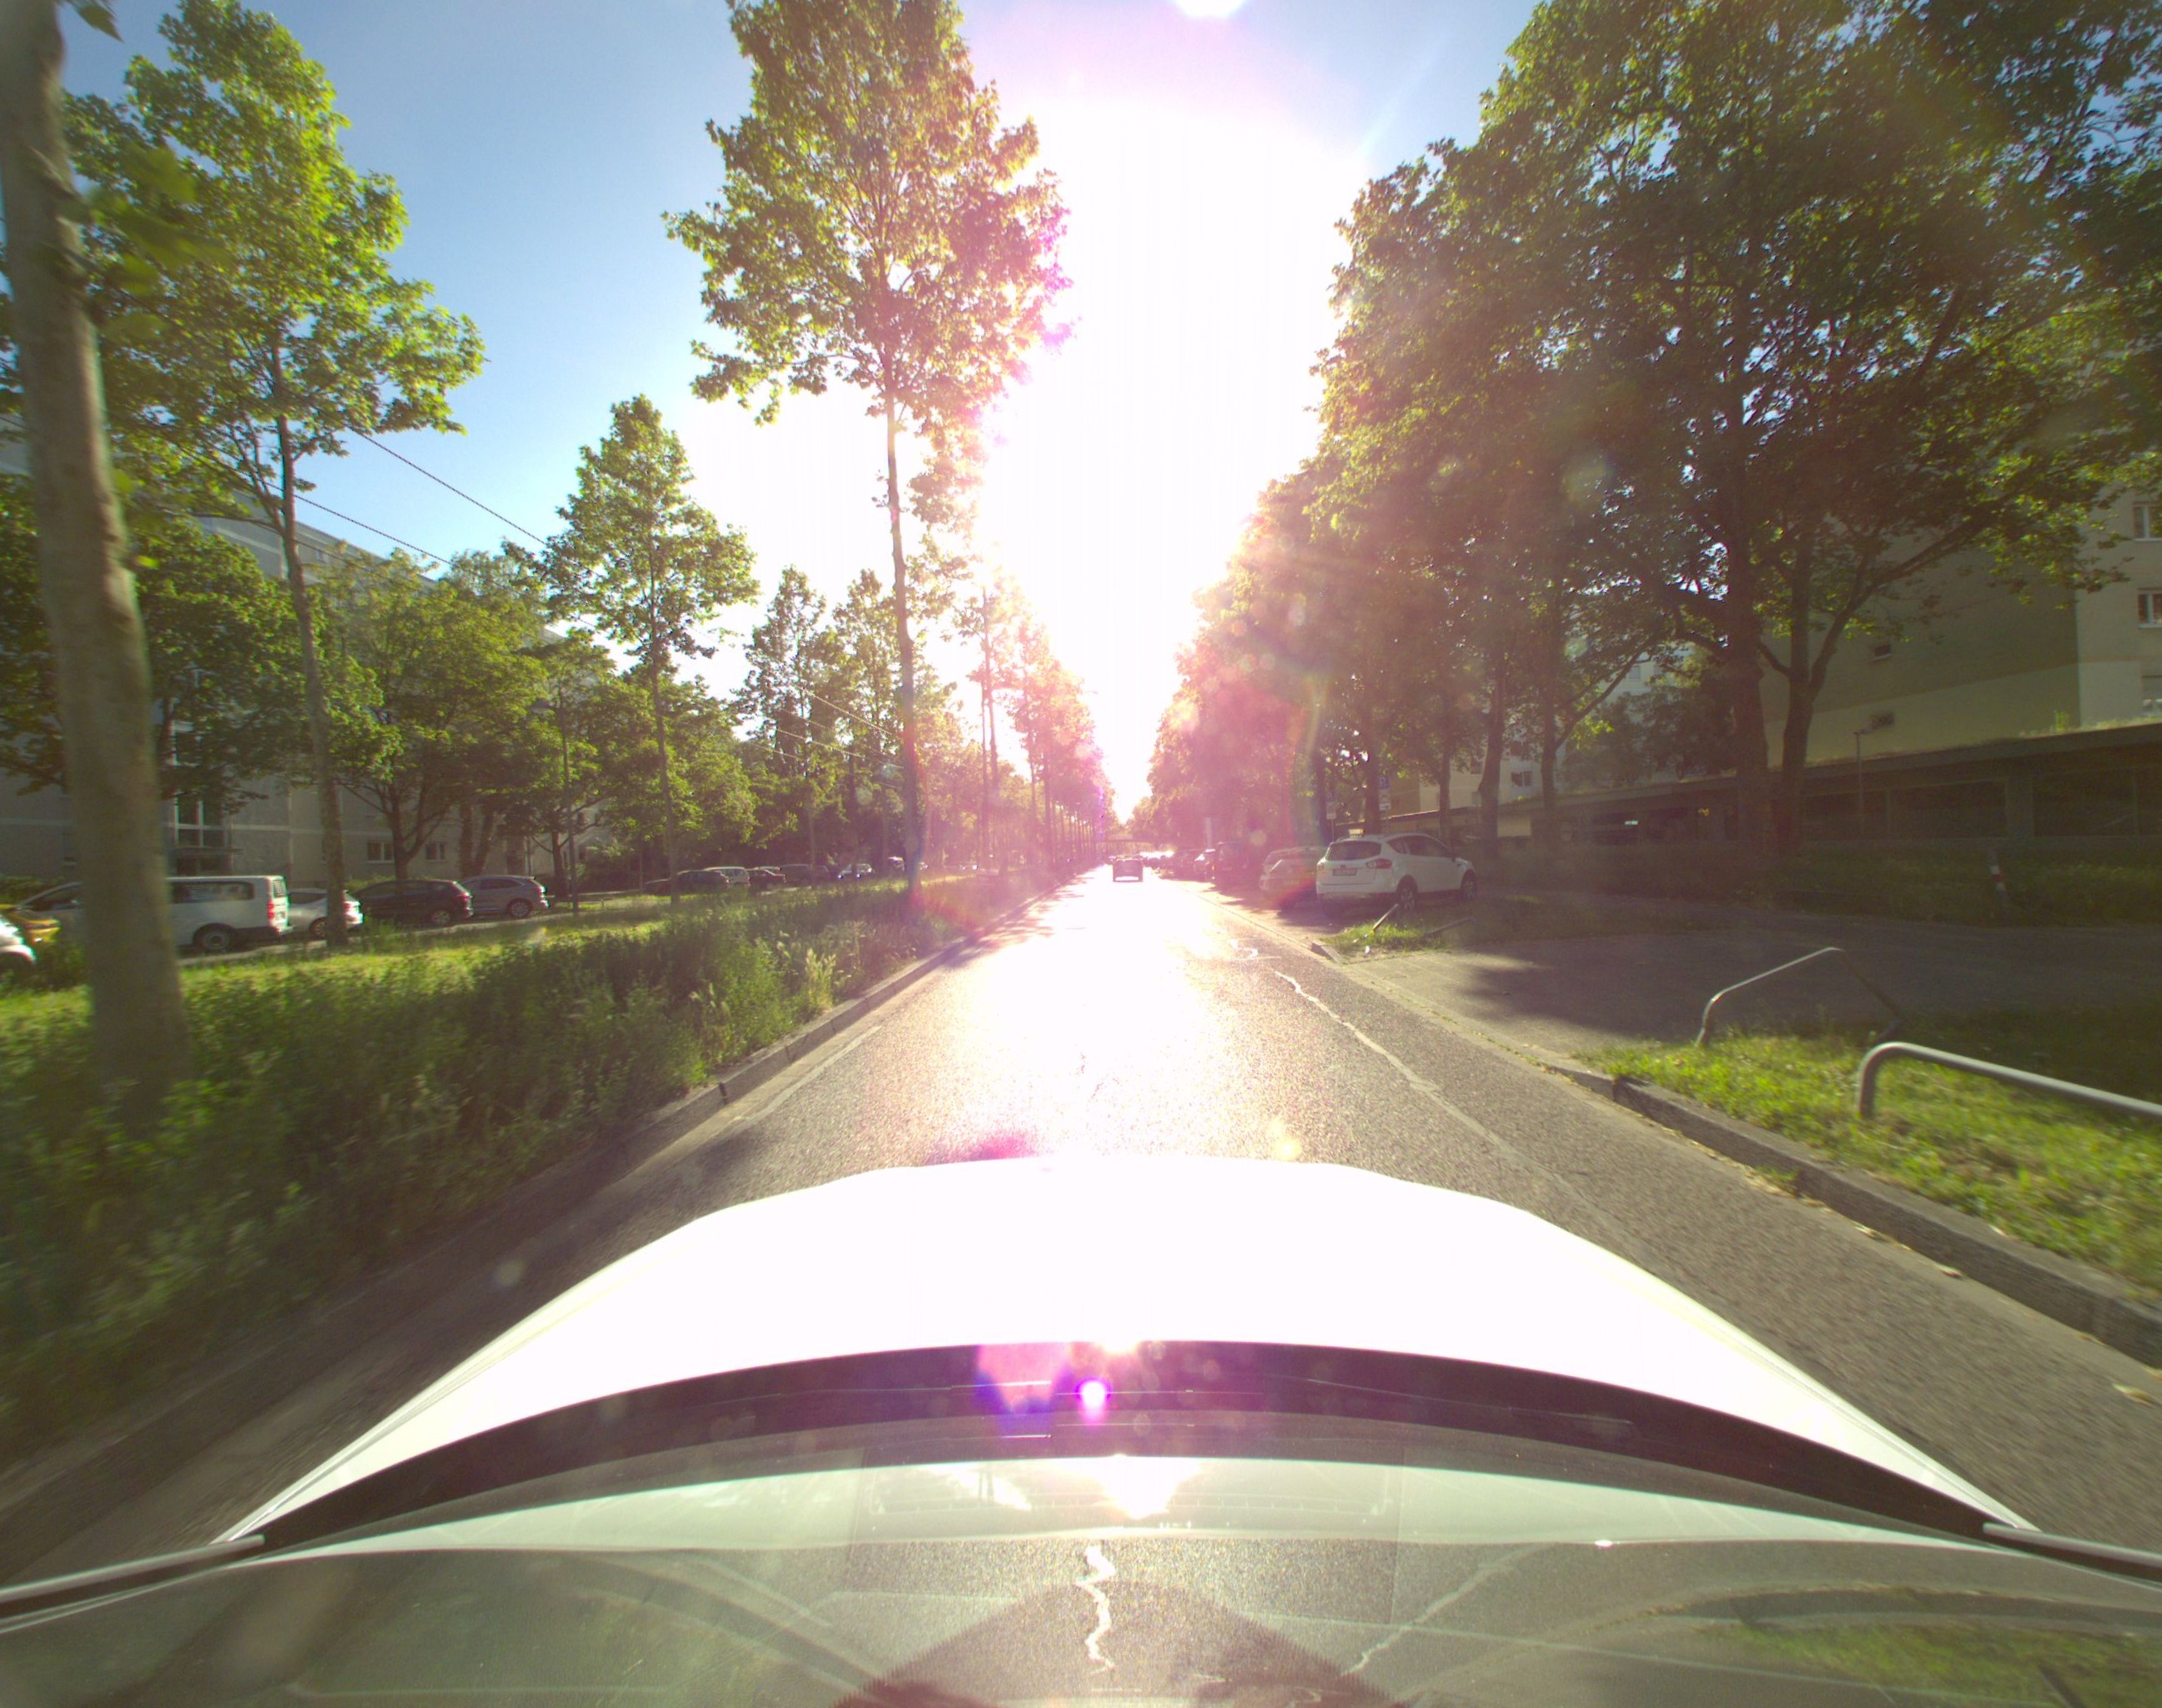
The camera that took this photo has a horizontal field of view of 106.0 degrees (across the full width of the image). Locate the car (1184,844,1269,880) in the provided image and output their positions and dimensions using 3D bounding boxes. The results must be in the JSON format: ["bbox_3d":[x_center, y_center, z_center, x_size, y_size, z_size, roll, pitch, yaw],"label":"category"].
[{"bbox_3d":[7.500,0.397,41.840,4.101,1.582,1.763,-3,0,-33],"label":"car"}]

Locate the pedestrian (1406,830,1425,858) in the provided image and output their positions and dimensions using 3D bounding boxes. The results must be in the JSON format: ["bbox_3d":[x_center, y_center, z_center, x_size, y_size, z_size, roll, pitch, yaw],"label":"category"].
[{"bbox_3d":[22.926,-0.687,55.840,0.871,1.914,0.869,-2,0,-7],"label":"pedestrian"}]

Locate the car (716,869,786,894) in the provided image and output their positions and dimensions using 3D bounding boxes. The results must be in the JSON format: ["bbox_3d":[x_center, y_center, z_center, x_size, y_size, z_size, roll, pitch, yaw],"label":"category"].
[{"bbox_3d":[-21.866,1.811,54.049,3.942,1.487,1.774,-2,0,-41],"label":"car"}]

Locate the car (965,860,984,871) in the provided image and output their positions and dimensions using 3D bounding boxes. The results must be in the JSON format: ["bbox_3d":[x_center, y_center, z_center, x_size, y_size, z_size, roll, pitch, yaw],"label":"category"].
[{"bbox_3d":[-16.119,1.750,123.486,1.985,1.590,4.172,0,0,4],"label":"car"}]

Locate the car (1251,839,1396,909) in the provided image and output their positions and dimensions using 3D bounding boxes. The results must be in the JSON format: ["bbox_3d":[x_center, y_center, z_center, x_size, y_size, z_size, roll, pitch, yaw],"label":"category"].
[{"bbox_3d":[6.111,0.463,20.299,3.808,1.470,1.631,-3,0,-42],"label":"car"}]

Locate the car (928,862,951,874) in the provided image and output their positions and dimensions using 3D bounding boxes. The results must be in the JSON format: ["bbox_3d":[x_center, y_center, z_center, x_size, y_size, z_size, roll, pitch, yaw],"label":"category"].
[{"bbox_3d":[-17.977,1.816,103.618,1.985,1.453,4.004,0,0,4],"label":"car"}]

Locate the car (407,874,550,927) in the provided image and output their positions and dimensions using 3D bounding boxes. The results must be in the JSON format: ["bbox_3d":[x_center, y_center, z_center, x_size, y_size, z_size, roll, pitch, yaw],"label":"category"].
[{"bbox_3d":[-22.685,1.699,30.724,4.108,1.607,1.971,-3,2,-43],"label":"car"}]

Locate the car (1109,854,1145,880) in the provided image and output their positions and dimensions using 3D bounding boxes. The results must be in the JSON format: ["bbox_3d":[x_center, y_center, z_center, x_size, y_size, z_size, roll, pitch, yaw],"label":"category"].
[{"bbox_3d":[2.648,0.719,47.182,1.914,1.411,4.003,-1,0,3],"label":"car"}]

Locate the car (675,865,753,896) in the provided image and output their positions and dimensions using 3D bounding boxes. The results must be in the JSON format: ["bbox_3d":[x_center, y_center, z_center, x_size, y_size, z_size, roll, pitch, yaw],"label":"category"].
[{"bbox_3d":[-22.394,1.595,49.781,4.000,1.675,1.766,-2,0,-41],"label":"car"}]

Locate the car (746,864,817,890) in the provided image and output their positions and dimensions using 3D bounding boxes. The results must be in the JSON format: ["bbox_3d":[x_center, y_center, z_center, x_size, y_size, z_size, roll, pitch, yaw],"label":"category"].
[{"bbox_3d":[-21.790,1.668,59.351,4.511,1.675,1.774,-2,0,-41],"label":"car"}]

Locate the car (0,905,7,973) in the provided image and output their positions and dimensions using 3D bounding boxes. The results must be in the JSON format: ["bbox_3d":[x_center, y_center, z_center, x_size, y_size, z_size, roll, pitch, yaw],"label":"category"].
[{"bbox_3d":[-24.441,1.748,15.774,4.107,1.433,1.560,1,-7,-42],"label":"car"}]

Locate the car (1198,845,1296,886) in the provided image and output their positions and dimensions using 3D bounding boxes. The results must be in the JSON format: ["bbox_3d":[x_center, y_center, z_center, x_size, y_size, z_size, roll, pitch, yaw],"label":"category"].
[{"bbox_3d":[7.063,0.484,34.508,4.102,1.481,1.633,-3,0,-34],"label":"car"}]

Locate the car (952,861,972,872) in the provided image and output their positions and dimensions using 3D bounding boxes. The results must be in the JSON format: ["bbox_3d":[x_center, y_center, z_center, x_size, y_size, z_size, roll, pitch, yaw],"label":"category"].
[{"bbox_3d":[-16.848,1.776,115.472,1.985,1.453,4.004,0,0,4],"label":"car"}]

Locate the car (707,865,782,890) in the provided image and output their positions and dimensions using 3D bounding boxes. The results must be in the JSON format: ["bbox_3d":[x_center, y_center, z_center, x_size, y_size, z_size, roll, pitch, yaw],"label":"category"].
[{"bbox_3d":[-23.097,1.611,55.966,4.505,1.481,1.600,-2,0,-35],"label":"car"}]

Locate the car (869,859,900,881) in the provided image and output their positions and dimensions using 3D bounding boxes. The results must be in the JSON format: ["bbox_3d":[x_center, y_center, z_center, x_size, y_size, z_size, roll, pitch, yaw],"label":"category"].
[{"bbox_3d":[-19.614,1.614,81.546,1.638,2.093,4.920,0,0,4],"label":"car"}]

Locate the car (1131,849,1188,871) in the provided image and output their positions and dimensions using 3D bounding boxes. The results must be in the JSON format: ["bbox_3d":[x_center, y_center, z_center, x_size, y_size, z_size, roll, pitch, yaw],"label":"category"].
[{"bbox_3d":[6.271,0.448,64.920,4.519,1.443,1.834,-3,0,-42],"label":"car"}]

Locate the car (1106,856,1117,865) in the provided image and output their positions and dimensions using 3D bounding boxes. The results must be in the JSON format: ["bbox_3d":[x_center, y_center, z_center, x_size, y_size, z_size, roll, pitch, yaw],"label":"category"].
[{"bbox_3d":[5.073,1.069,135.771,1.842,1.535,3.869,-2,0,2],"label":"car"}]

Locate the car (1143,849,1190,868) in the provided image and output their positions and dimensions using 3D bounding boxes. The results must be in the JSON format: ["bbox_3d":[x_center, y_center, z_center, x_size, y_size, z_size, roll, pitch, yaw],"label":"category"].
[{"bbox_3d":[8.011,0.395,75.801,4.353,1.424,1.834,-3,0,-42],"label":"car"}]

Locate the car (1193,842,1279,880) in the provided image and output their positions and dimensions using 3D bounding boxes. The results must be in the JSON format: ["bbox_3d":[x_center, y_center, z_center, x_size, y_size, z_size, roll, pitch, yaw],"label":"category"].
[{"bbox_3d":[7.445,0.316,38.901,4.107,1.582,1.760,-3,0,-41],"label":"car"}]

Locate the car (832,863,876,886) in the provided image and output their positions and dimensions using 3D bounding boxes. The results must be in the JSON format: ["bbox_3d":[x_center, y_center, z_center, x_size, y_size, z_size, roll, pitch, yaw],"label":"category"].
[{"bbox_3d":[-16.411,1.478,59.134,1.917,1.506,4.086,-2,0,1],"label":"car"}]

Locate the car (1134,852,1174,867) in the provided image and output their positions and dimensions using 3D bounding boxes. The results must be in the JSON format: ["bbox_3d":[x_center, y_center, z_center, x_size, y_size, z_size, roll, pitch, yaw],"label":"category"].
[{"bbox_3d":[8.508,0.627,94.454,4.651,1.459,1.955,-2,-1,-44],"label":"car"}]

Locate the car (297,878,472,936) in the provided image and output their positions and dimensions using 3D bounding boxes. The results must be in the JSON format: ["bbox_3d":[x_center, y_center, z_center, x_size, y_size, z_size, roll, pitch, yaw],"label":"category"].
[{"bbox_3d":[-22.691,1.676,26.774,4.100,1.530,1.800,-3,1,-32],"label":"car"}]

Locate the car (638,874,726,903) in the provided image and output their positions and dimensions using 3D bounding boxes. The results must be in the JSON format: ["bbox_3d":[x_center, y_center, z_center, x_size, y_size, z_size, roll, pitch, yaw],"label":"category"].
[{"bbox_3d":[-22.662,1.935,46.318,4.154,1.337,1.774,-2,1,-41],"label":"car"}]

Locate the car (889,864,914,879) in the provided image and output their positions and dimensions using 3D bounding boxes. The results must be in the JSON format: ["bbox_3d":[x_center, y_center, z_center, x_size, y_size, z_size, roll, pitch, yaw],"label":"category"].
[{"bbox_3d":[-19.331,1.865,87.706,1.638,1.453,3.667,0,0,4],"label":"car"}]

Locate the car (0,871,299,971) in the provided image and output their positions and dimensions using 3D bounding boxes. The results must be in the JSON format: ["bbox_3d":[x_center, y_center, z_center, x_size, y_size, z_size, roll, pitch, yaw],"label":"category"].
[{"bbox_3d":[-23.012,1.541,20.275,4.820,2.006,1.871,-2,1,-37],"label":"car"}]

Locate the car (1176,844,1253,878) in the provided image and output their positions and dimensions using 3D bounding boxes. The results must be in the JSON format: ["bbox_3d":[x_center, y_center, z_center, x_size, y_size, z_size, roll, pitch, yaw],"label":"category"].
[{"bbox_3d":[7.445,0.386,45.113,4.341,1.717,1.617,-2,0,-37],"label":"car"}]

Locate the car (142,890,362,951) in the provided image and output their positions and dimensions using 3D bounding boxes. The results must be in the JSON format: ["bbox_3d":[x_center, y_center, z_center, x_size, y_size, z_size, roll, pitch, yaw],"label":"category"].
[{"bbox_3d":[-23.254,1.819,23.076,4.099,1.432,1.563,0,0,-32],"label":"car"}]

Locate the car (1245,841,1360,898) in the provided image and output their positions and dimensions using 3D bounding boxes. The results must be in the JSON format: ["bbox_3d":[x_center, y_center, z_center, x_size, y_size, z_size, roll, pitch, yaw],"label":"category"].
[{"bbox_3d":[6.665,0.445,24.325,3.649,1.448,1.631,-3,0,-45],"label":"car"}]

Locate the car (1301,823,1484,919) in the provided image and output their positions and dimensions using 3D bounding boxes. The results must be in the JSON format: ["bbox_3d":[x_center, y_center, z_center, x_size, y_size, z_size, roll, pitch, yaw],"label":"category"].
[{"bbox_3d":[6.645,0.295,17.197,4.049,1.705,1.740,-3,0,-39],"label":"car"}]

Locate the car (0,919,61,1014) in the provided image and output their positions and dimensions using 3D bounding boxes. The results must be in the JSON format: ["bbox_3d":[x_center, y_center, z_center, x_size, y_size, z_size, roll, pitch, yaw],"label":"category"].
[{"bbox_3d":[-18.515,1.895,12.154,1.640,1.485,3.851,-3,-1,2],"label":"car"}]

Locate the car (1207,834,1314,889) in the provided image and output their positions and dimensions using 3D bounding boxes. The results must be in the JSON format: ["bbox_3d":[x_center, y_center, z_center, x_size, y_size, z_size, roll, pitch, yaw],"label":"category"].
[{"bbox_3d":[6.836,0.280,30.826,4.105,1.811,1.632,-3,0,-38],"label":"car"}]

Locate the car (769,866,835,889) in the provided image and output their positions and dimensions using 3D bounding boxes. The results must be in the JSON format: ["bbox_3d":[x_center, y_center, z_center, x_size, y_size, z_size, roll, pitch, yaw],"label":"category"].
[{"bbox_3d":[-21.531,1.811,62.956,4.511,1.568,1.774,-2,0,-41],"label":"car"}]

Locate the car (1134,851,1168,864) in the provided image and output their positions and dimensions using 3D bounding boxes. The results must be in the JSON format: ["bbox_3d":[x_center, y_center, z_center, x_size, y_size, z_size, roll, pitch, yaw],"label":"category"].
[{"bbox_3d":[9.454,0.497,109.926,4.649,1.680,1.835,-1,-1,-41],"label":"car"}]
